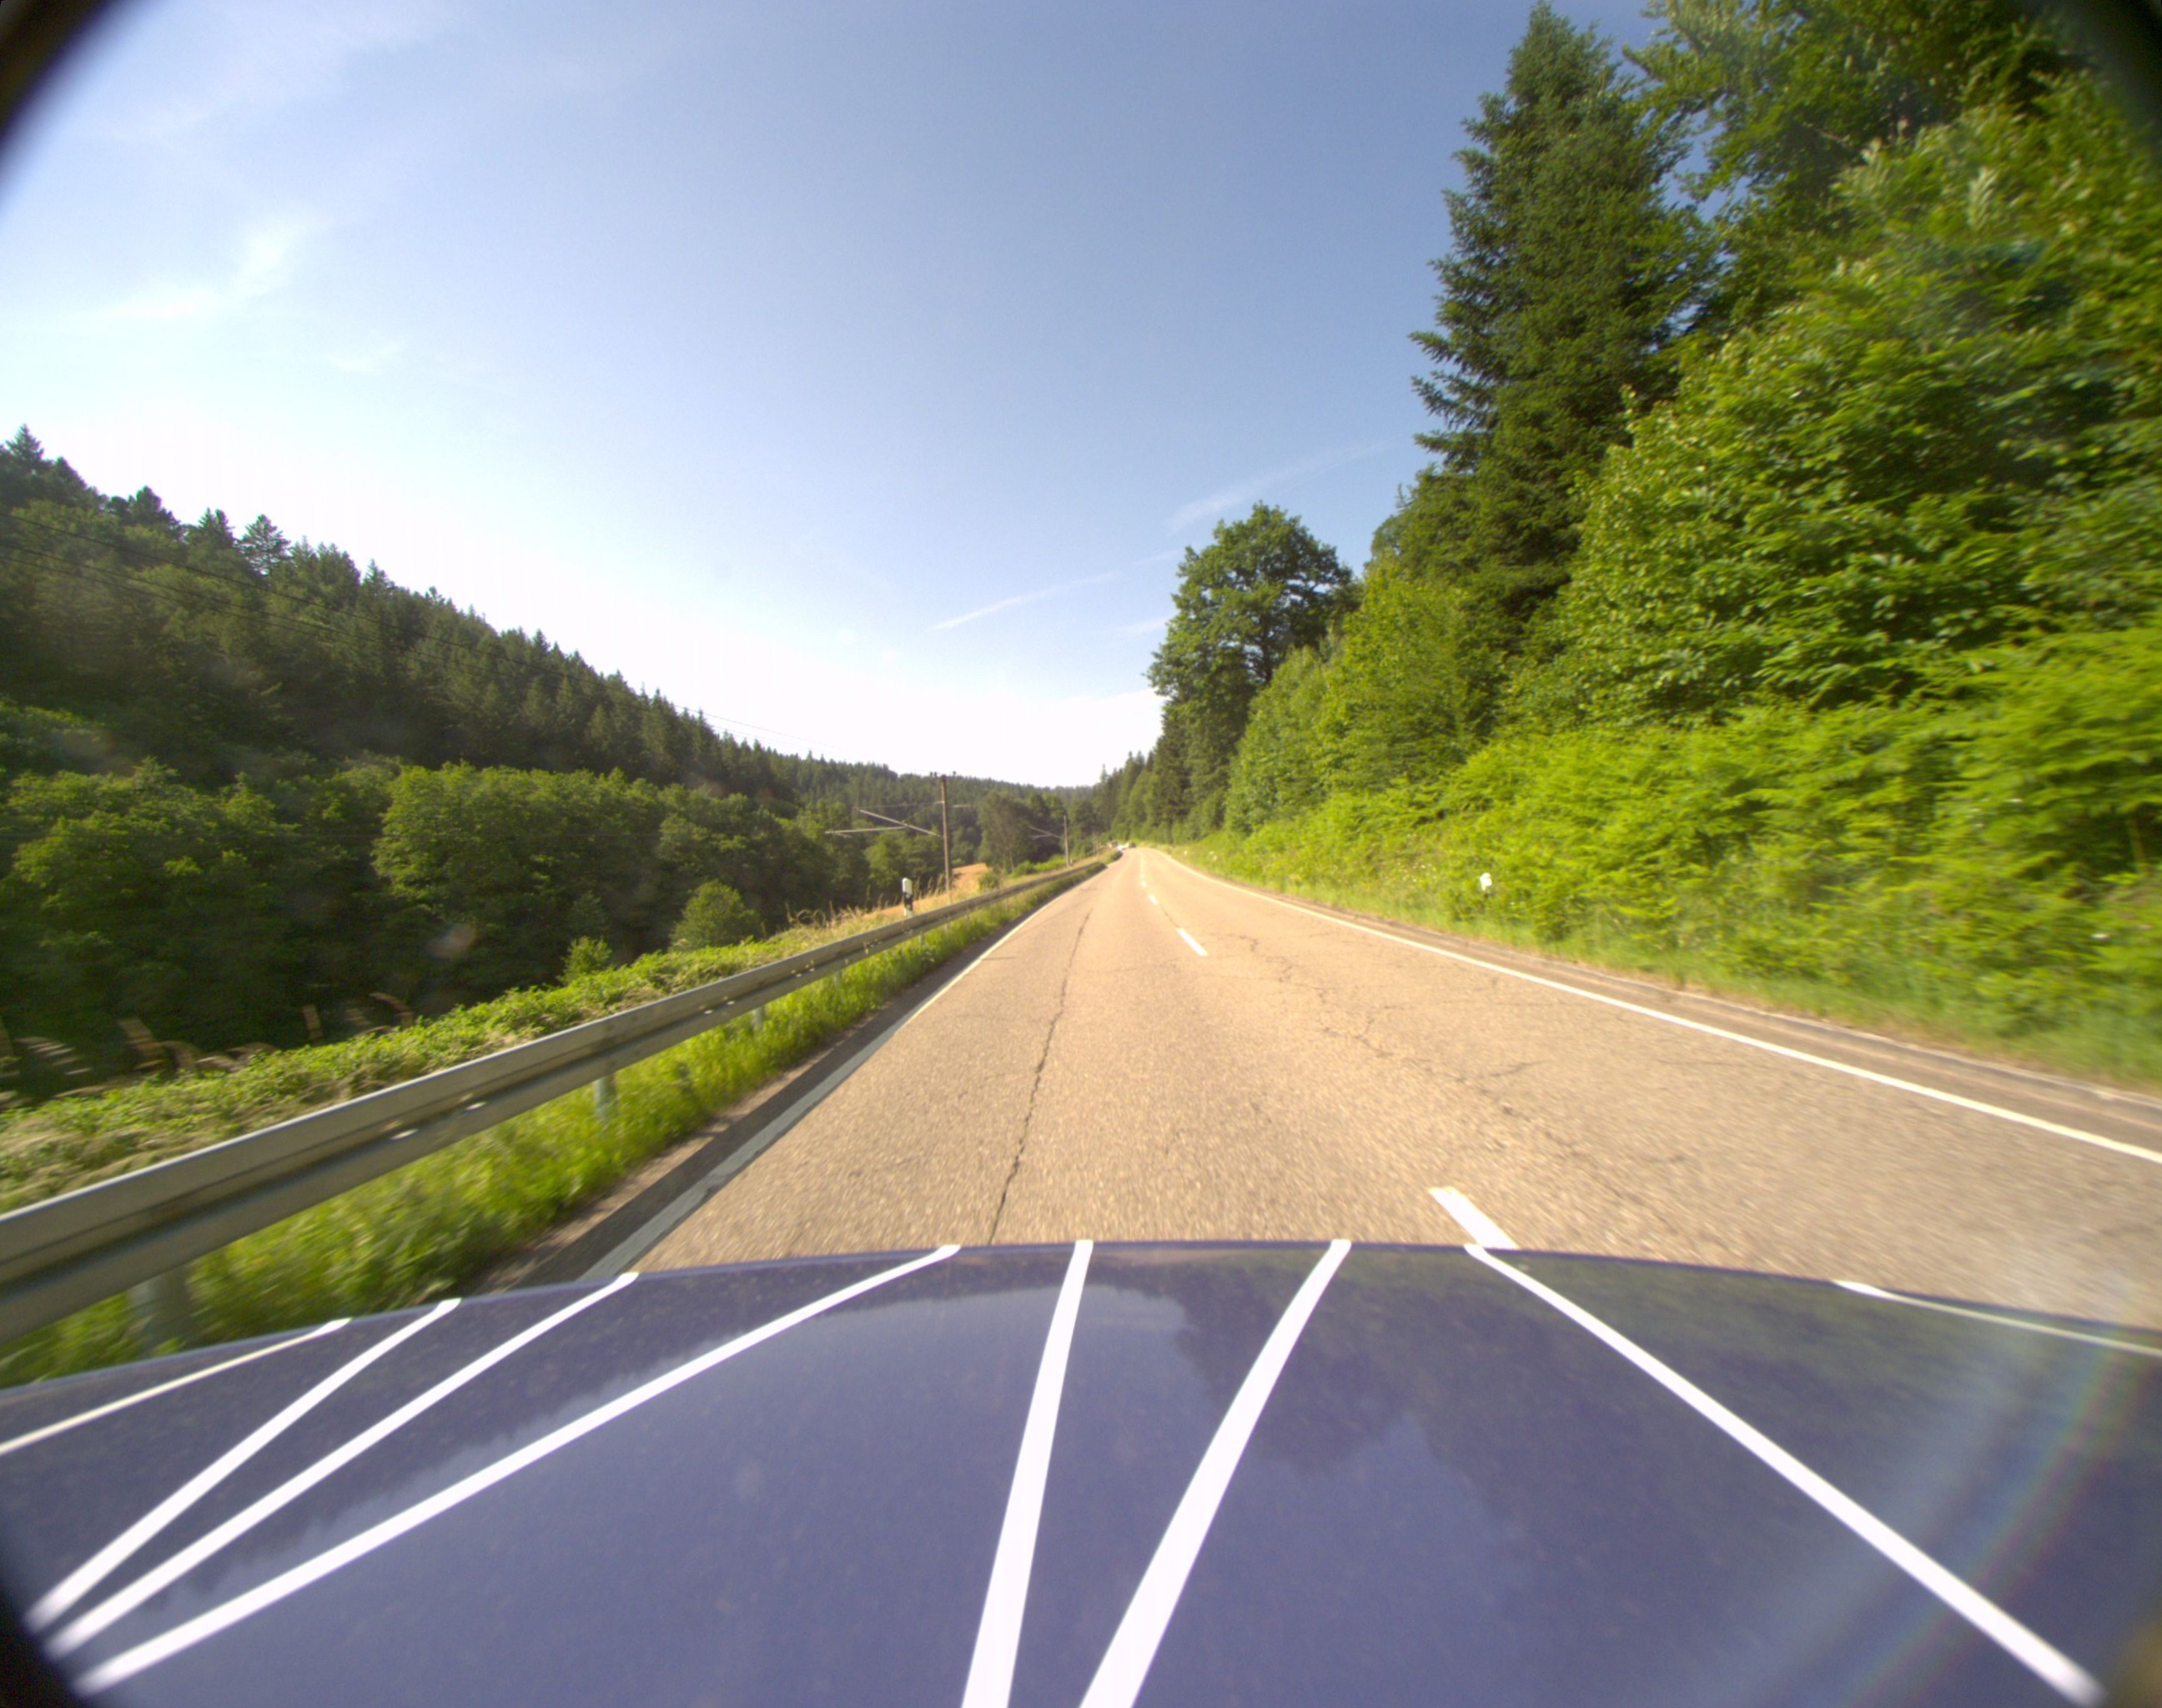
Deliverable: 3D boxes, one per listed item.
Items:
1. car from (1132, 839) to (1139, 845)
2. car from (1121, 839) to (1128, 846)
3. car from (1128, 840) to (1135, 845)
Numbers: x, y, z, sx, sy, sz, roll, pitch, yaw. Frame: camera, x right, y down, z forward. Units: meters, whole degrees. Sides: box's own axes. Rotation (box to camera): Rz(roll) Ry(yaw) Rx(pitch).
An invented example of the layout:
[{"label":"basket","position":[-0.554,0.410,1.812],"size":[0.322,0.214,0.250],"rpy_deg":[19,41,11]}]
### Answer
[{"label":"car","position":[15.533,-3.323,215.296],"size":[1.840,1.572,4.875],"rpy_deg":[-3,1,5]},{"label":"car","position":[11.806,-3.163,206.625],"size":[1.702,1.543,3.788],"rpy_deg":[-4,2,3]},{"label":"car","position":[15.444,-3.629,232.828],"size":[1.797,1.357,4.000],"rpy_deg":[-3,2,5]}]
